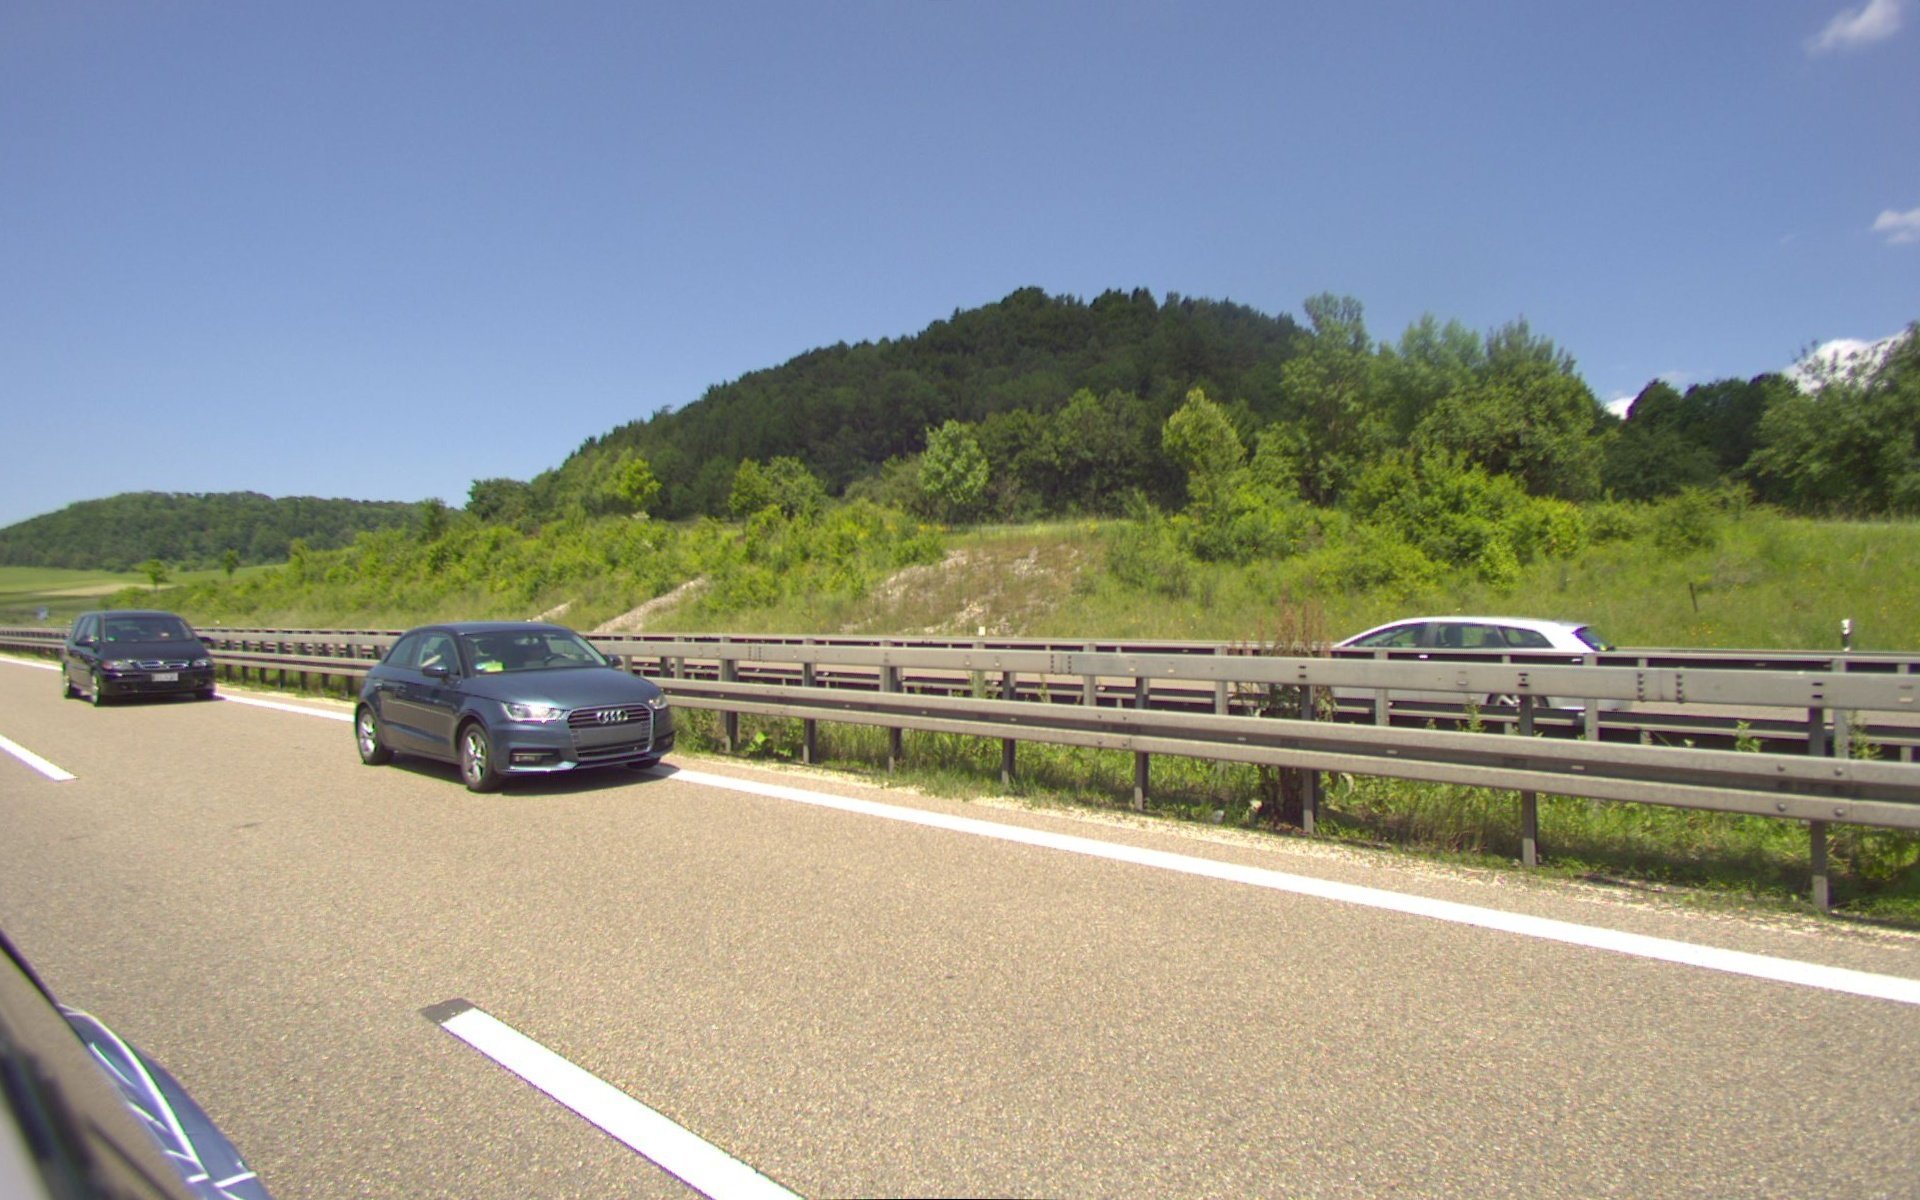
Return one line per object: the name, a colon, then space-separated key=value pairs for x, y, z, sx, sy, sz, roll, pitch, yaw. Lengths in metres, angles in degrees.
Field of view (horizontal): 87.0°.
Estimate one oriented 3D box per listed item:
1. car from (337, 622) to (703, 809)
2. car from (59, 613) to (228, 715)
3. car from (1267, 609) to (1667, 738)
car: x=-4.299 y=0.919 z=9.602 sx=3.998 sy=1.399 sz=1.671 roll=-1 pitch=-1 yaw=41
car: x=-15.092 y=1.087 z=18.619 sx=4.445 sy=1.647 sz=1.781 roll=-1 pitch=-1 yaw=43
car: x=6.767 y=0.889 z=13.800 sx=4.525 sy=1.466 sz=1.973 roll=-1 pitch=-1 yaw=41
